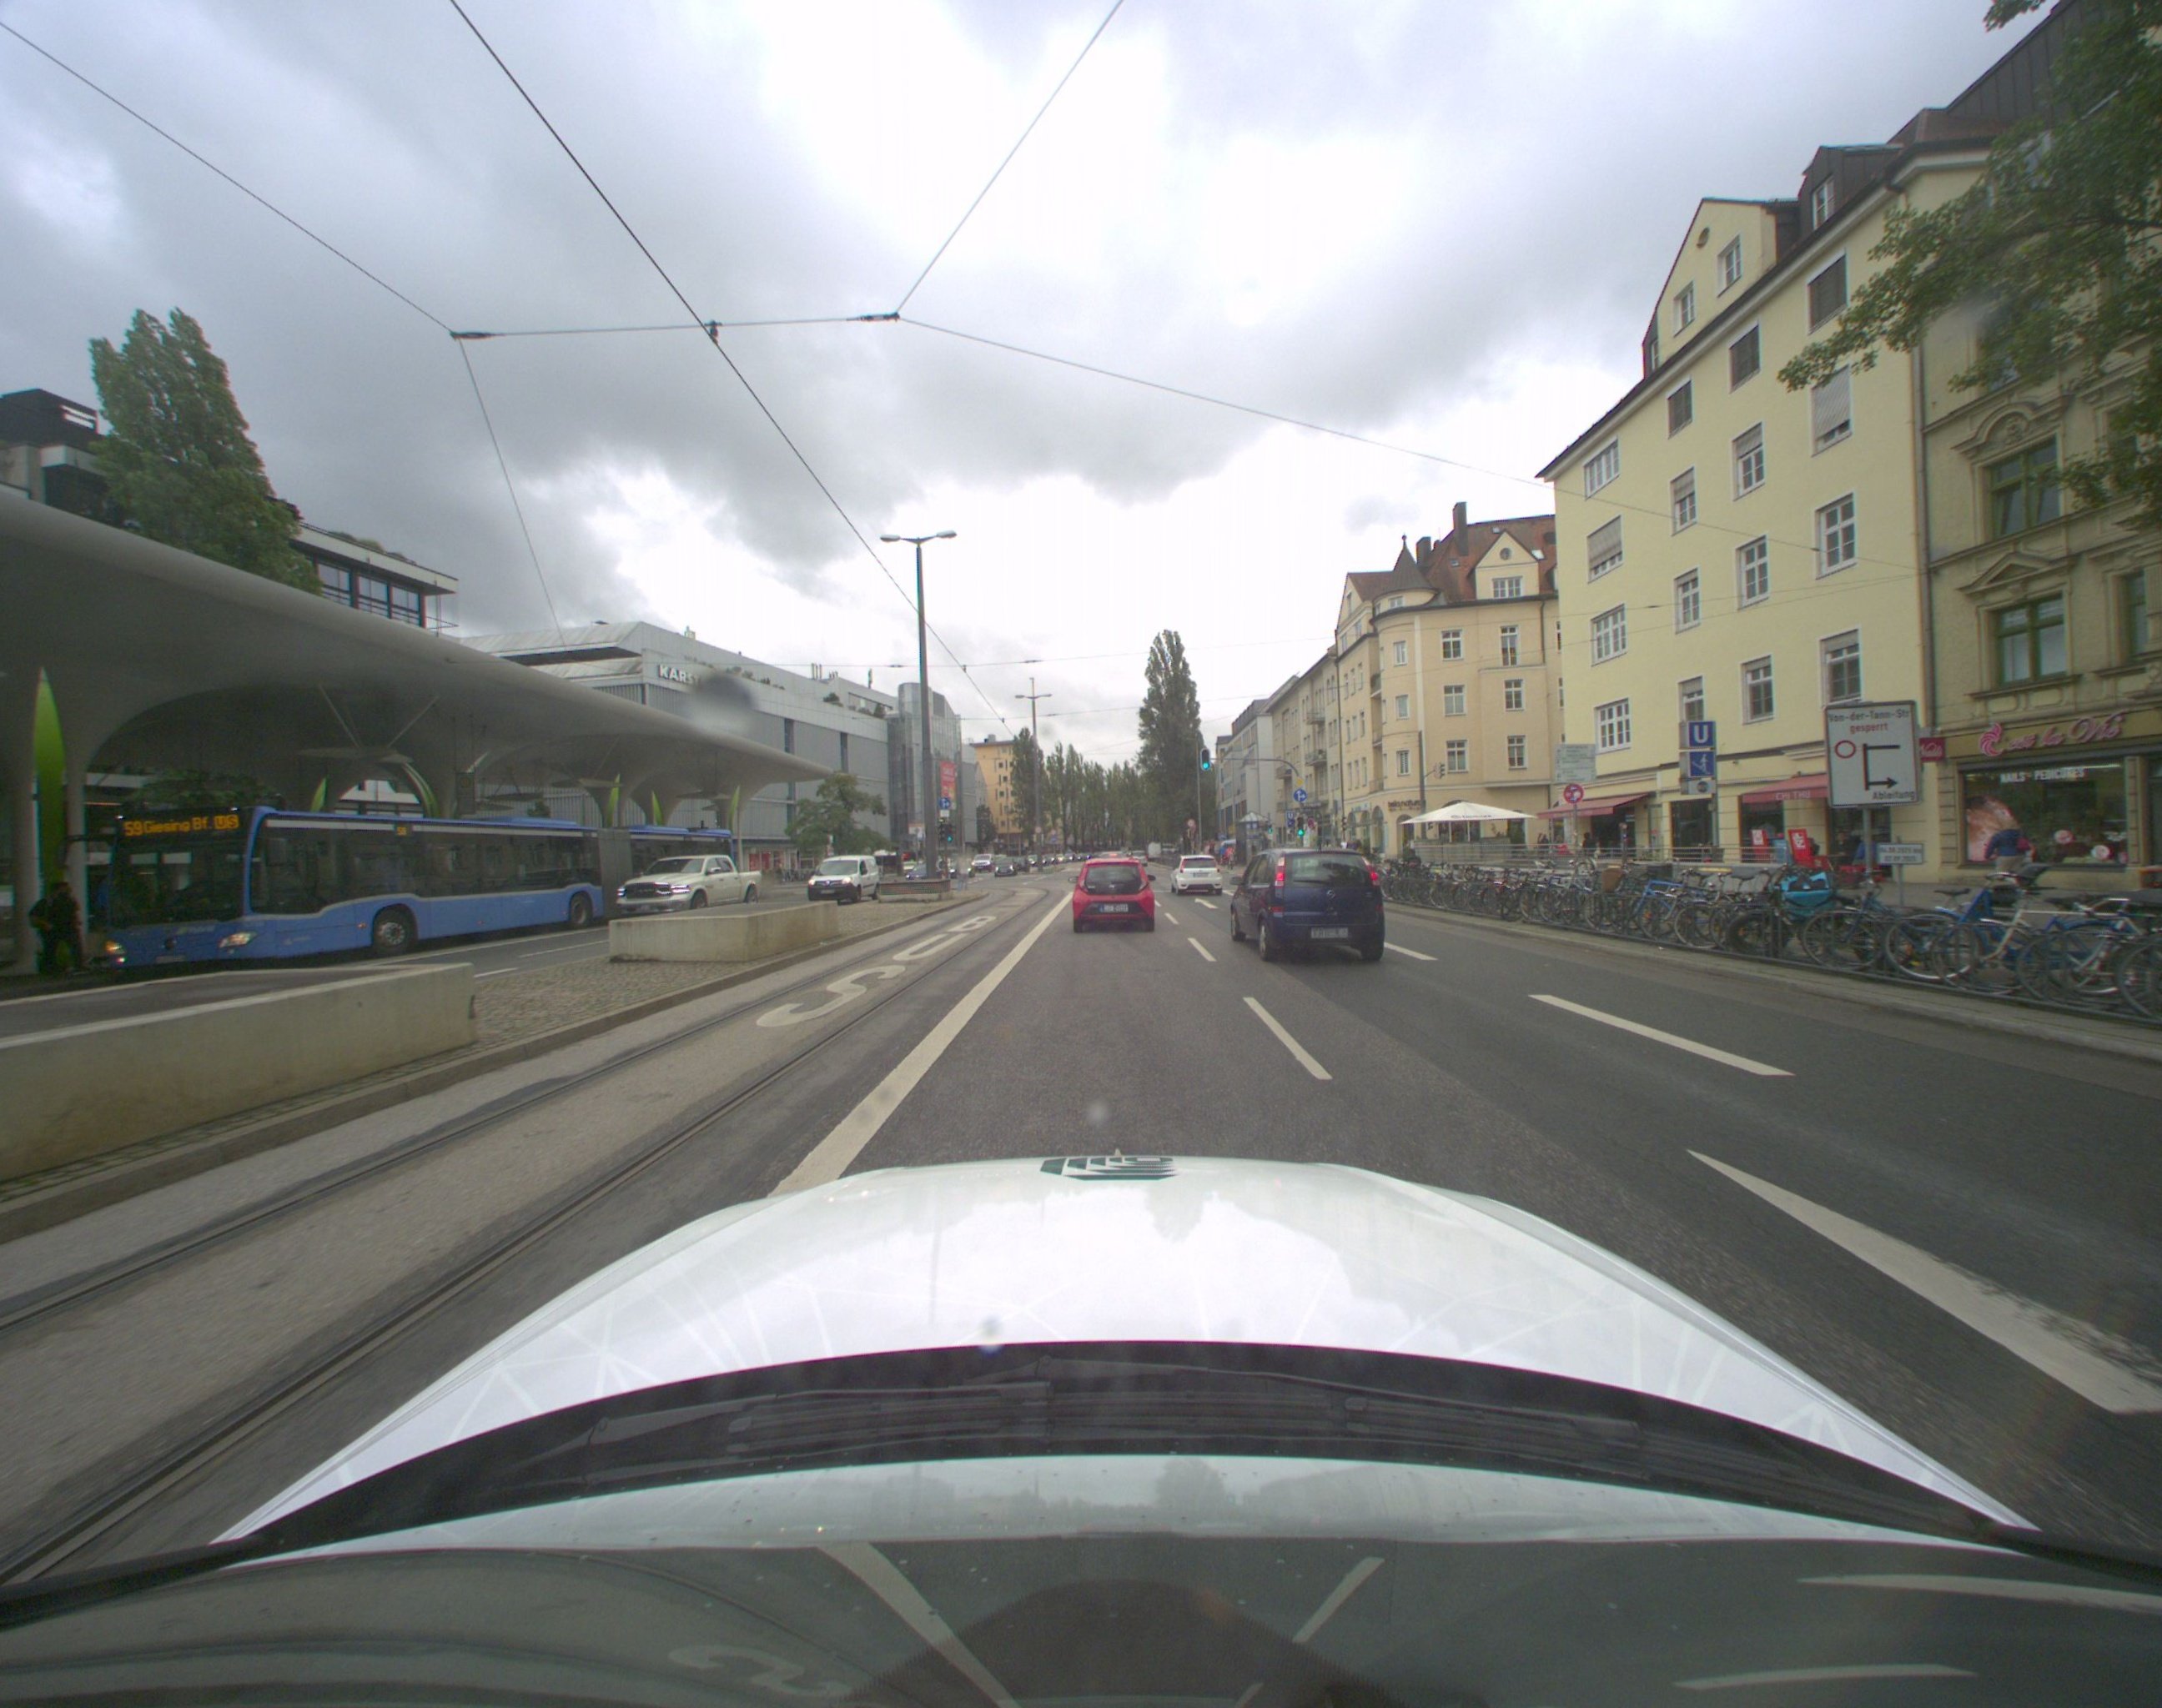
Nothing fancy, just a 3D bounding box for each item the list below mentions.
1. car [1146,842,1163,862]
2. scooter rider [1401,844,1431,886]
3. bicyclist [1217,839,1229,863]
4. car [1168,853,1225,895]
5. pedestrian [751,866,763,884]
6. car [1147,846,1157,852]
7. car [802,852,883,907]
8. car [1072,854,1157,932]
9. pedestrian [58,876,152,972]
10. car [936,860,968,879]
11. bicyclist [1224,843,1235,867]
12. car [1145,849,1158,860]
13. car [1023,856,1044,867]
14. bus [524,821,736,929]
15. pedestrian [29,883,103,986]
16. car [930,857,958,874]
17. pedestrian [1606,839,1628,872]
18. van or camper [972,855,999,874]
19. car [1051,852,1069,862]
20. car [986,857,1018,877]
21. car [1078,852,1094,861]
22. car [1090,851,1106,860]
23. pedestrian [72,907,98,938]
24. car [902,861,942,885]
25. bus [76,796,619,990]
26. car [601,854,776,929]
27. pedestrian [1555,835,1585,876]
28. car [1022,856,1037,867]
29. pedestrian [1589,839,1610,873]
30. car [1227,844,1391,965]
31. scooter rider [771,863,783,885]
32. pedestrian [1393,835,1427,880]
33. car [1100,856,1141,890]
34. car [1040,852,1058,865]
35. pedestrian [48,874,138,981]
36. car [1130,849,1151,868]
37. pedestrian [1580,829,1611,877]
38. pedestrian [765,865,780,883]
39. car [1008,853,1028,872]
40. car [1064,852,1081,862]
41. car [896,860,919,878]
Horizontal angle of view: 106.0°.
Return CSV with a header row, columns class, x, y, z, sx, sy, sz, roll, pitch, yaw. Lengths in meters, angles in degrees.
class,x,y,z,sx,sy,sz,roll,pitch,yaw
car,10.416,-0.278,116.194,2.098,2.718,4.808,-3,0,3
scooter rider,11.469,0.368,27.907,0.698,1.389,0.643,-2,0,0
bicyclist,11.304,-0.208,64.784,0.759,1.869,1.133,-2,0,3
car,4.267,0.698,30.601,1.693,1.426,3.498,-3,0,2
pedestrian,-29.105,1.913,73.082,0.632,1.574,0.725,-2,0,33
car,20.194,-1.515,232.153,1.979,1.691,4.431,-3,0,15
car,-8.935,0.900,30.875,1.780,1.855,4.217,-3,0,0
car,0.723,0.740,17.148,1.598,1.461,3.133,-1,0,3
pedestrian,-18.481,1.302,15.450,0.714,1.721,0.877,-2,0,-14
car,-10.401,1.245,66.106,1.836,1.416,4.035,-3,0,1
bicyclist,10.746,0.052,58.966,0.611,1.657,1.252,-2,0,3
car,10.562,0.044,122.415,1.696,1.662,3.558,-2,0,2
car,-6.237,0.968,106.681,1.983,1.412,4.175,-3,0,7
bus,-14.872,0.617,27.719,2.650,3.007,7.516,-4,0,2
pedestrian,-17.686,1.384,14.206,0.504,1.734,0.571,-2,0,-5
car,-14.471,1.193,86.318,1.893,1.543,4.396,-2,0,3
pedestrian,21.170,0.066,32.183,0.476,1.299,0.527,-2,0,0
van or camper,-9.914,1.036,84.657,1.921,1.826,5.443,-3,0,2
car,-3.276,0.489,126.520,1.754,1.421,4.652,-3,0,10
car,-6.176,0.984,63.136,1.551,1.445,3.514,-2,0,-21
car,0.954,0.488,151.083,1.980,1.534,4.603,-3,0,12
car,3.383,0.283,161.135,1.980,1.691,4.938,-3,0,13
pedestrian,-44.444,3.034,36.336,0.507,1.333,0.580,-2,0,21
car,-10.479,1.260,53.947,1.672,1.395,4.232,-3,0,0
bus,-15.080,0.636,18.686,2.651,3.007,10.516,-4,0,1
car,-11.466,0.990,24.485,2.168,1.887,6.156,-3,0,0
pedestrian,17.531,0.057,29.229,0.673,1.422,0.617,-2,0,2
car,-7.525,1.080,118.902,1.692,1.596,4.002,-3,0,2
pedestrian,20.461,0.068,32.136,0.476,1.299,0.527,-2,0,0
car,3.374,0.676,12.691,1.696,1.589,3.558,1,0,2
scooter rider,-25.393,1.689,68.124,0.662,1.835,0.621,-2,0,3
pedestrian,12.938,0.134,32.039,0.882,1.743,0.854,-2,0,-15
car,2.012,0.951,42.390,1.986,1.618,4.002,-2,0,2
car,-4.568,0.653,117.242,1.733,1.670,4.744,-3,0,9
pedestrian,-16.938,1.240,13.982,0.564,1.743,0.754,-3,0,-8
car,6.146,0.489,84.610,1.986,1.838,4.002,-3,0,2
pedestrian,18.007,-0.023,28.527,0.612,1.632,0.678,-2,0,2
pedestrian,-28.075,1.839,74.203,0.791,1.581,0.980,-2,0,13
car,-5.306,0.706,68.271,1.502,1.534,2.830,-2,0,-7
car,-1.346,0.490,136.678,1.924,1.738,4.602,-1,0,10
car,-17.537,1.505,82.361,1.994,1.536,4.399,-3,1,-10
